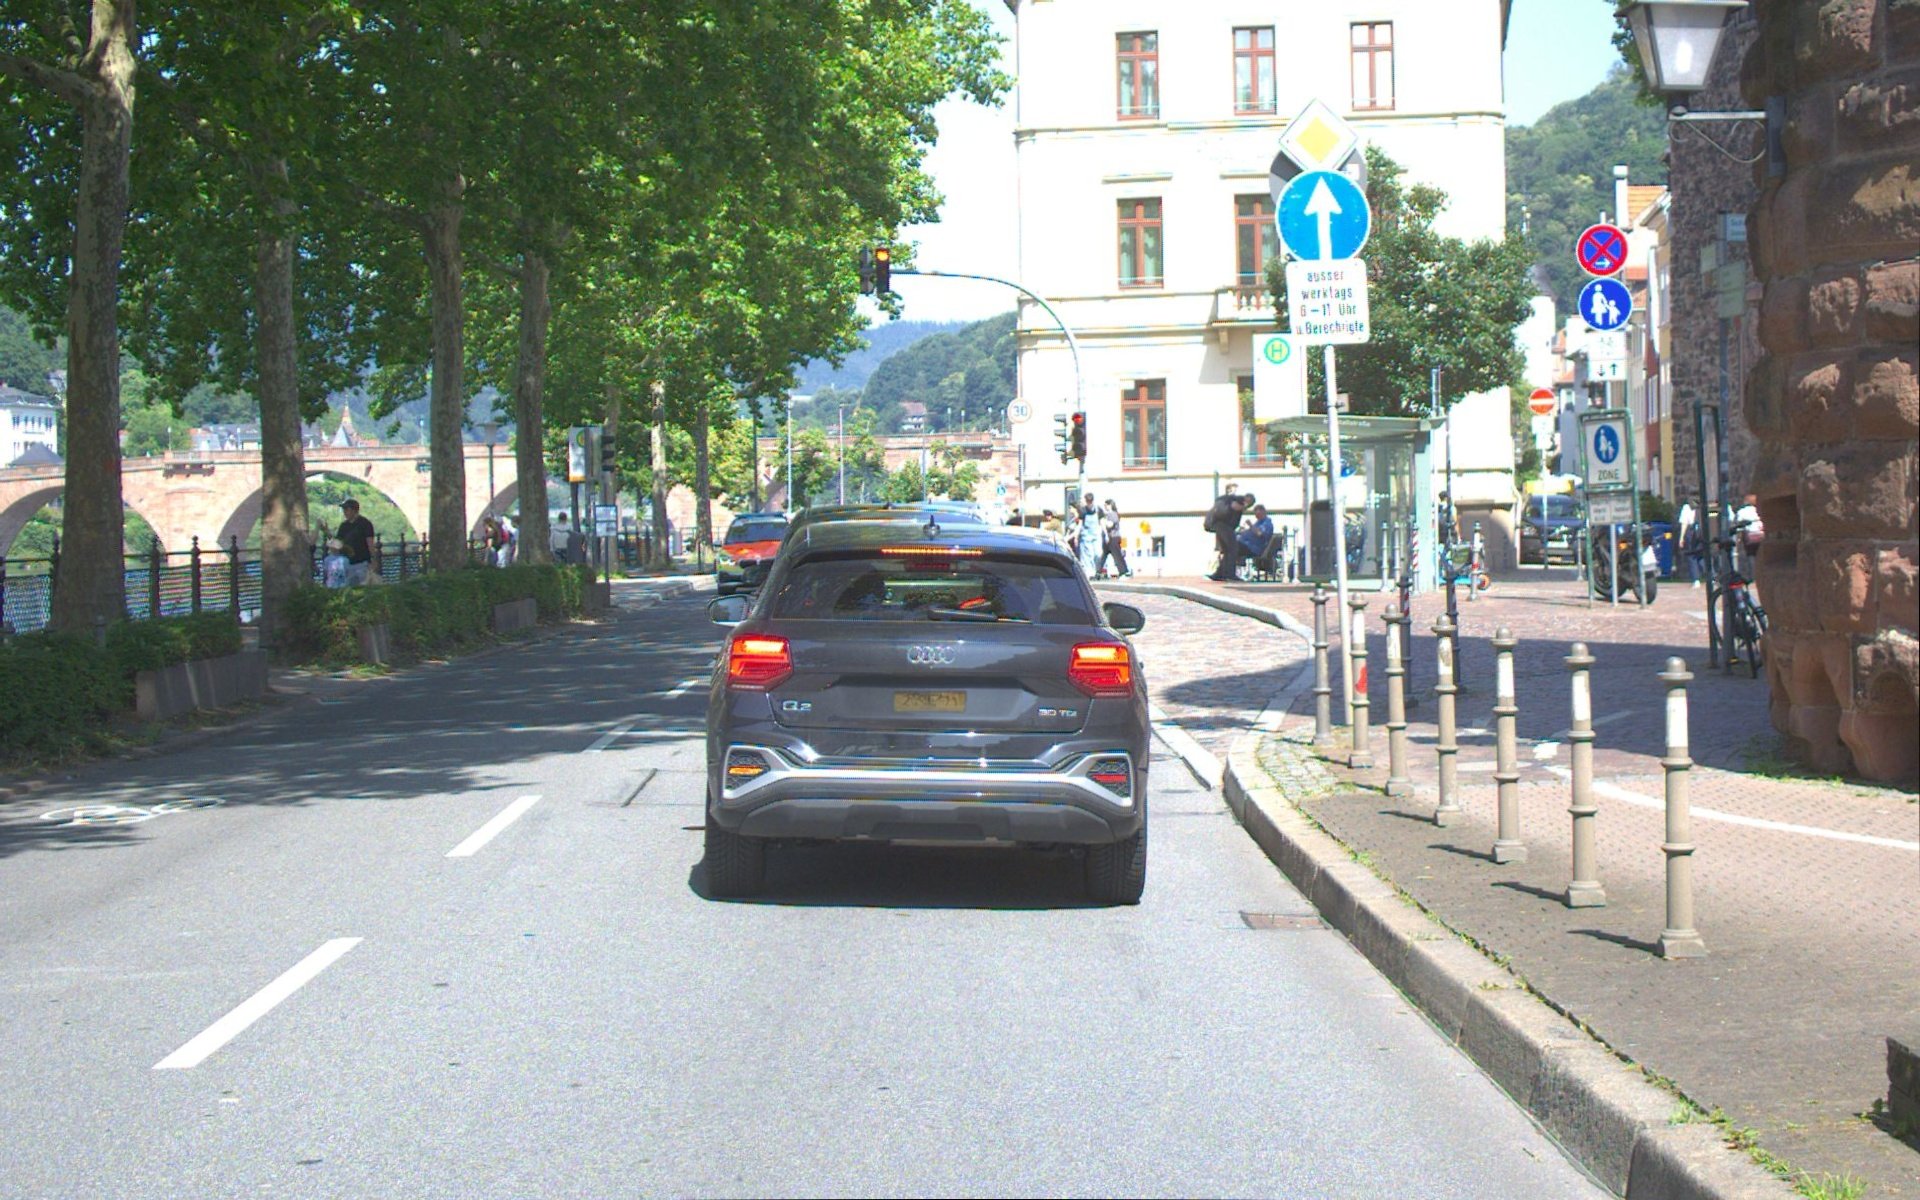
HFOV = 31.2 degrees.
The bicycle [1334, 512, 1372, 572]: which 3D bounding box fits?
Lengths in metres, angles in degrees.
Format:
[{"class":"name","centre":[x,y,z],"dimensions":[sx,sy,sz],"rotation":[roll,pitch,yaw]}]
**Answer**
[{"class":"bicycle","centre":[6.546,-0.966,57.356],"dimensions":[0.450,0.971,1.400],"rotation":[1,1,0]}]

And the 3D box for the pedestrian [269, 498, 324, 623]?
[{"class":"pedestrian","centre":[-9.134,-0.546,47.332],"dimensions":[0.645,1.711,0.665],"rotation":[0,1,-3]}]

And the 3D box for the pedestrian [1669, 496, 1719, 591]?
[{"class":"pedestrian","centre":[11.695,-0.899,54.794],"dimensions":[0.658,1.488,0.548],"rotation":[1,1,1]}]

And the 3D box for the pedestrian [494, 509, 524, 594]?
[{"class":"pedestrian","centre":[-8.758,-0.942,66.712],"dimensions":[0.517,1.632,0.439],"rotation":[-2,1,-7]}]

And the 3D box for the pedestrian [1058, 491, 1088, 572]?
[{"class":"pedestrian","centre":[2.202,-1.332,66.962],"dimensions":[0.557,1.552,0.660],"rotation":[1,1,1]}]

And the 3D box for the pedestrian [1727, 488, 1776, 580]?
[{"class":"pedestrian","centre":[13.270,-1.111,57.657],"dimensions":[0.658,1.512,0.627],"rotation":[1,1,1]}]

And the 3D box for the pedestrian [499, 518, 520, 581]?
[{"class":"pedestrian","centre":[-10.419,-1.170,79.516],"dimensions":[0.409,1.420,0.457],"rotation":[-2,1,-3]}]

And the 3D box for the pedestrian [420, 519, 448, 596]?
[{"class":"pedestrian","centre":[-10.662,-0.872,69.697],"dimensions":[0.497,1.532,0.680],"rotation":[-2,1,-7]}]

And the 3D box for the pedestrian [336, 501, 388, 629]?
[{"class":"pedestrian","centre":[-8.239,-0.483,47.366],"dimensions":[0.563,1.735,0.665],"rotation":[-2,1,-3]}]

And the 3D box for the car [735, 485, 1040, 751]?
[{"class":"car","centre":[-0.439,0.060,22.748],"dimensions":[1.801,1.557,3.716],"rotation":[-2,1,0]}]

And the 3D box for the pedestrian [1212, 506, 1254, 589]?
[{"class":"pedestrian","centre":[5.159,-0.995,64.970],"dimensions":[0.747,1.552,0.588],"rotation":[1,1,1]}]

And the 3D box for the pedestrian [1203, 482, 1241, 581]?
[{"class":"pedestrian","centre":[4.350,-1.130,57.091],"dimensions":[0.557,1.627,0.660],"rotation":[1,1,1]}]

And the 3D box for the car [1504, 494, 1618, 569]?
[{"class":"car","centre":[14.334,-1.637,82.174],"dimensions":[1.993,1.710,4.000],"rotation":[1,1,0]}]

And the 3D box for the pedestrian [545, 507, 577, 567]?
[{"class":"pedestrian","centre":[-8.538,-1.351,73.562],"dimensions":[0.591,1.274,0.525],"rotation":[-2,1,0]}]

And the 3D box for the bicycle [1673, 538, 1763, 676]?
[{"class":"bicycle","centre":[5.876,0.034,26.718],"dimensions":[0.496,1.027,2.050],"rotation":[-1,1,8]}]

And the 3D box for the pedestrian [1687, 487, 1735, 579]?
[{"class":"pedestrian","centre":[12.594,-1.127,57.677],"dimensions":[0.658,1.512,0.548],"rotation":[1,1,1]}]

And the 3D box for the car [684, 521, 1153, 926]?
[{"class":"car","centre":[-0.203,0.428,14.819],"dimensions":[1.748,1.489,3.629],"rotation":[1,1,-1]}]

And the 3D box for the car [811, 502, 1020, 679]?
[{"class":"car","centre":[-0.393,-0.132,32.015],"dimensions":[1.801,1.517,3.716],"rotation":[-1,1,0]}]

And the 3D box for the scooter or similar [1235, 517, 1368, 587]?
[{"class":"scooter or similar","centre":[4.899,-0.687,49.377],"dimensions":[1.845,0.960,0.429],"rotation":[1,1,-1]}]

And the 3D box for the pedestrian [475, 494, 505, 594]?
[{"class":"pedestrian","centre":[-9.266,-1.104,67.805],"dimensions":[0.499,1.952,0.439],"rotation":[-2,1,-7]}]

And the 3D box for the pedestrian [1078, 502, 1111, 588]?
[{"class":"pedestrian","centre":[2.431,-0.999,62.271],"dimensions":[0.557,1.552,0.660],"rotation":[1,1,1]}]

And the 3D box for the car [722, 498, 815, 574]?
[{"class":"car","centre":[-4.001,-1.360,72.176],"dimensions":[1.615,1.517,3.476],"rotation":[-2,1,1]}]

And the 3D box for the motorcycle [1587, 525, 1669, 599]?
[{"class":"motorcycle","centre":[7.754,-0.452,39.955],"dimensions":[0.483,0.815,2.280],"rotation":[-2,2,0]}]

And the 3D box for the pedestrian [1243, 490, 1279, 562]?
[{"class":"pedestrian","centre":[5.063,-1.249,57.898],"dimensions":[0.546,1.197,0.522],"rotation":[1,1,1]}]

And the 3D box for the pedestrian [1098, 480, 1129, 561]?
[{"class":"pedestrian","centre":[2.956,-1.527,66.344],"dimensions":[0.557,1.552,0.660],"rotation":[1,1,1]}]
